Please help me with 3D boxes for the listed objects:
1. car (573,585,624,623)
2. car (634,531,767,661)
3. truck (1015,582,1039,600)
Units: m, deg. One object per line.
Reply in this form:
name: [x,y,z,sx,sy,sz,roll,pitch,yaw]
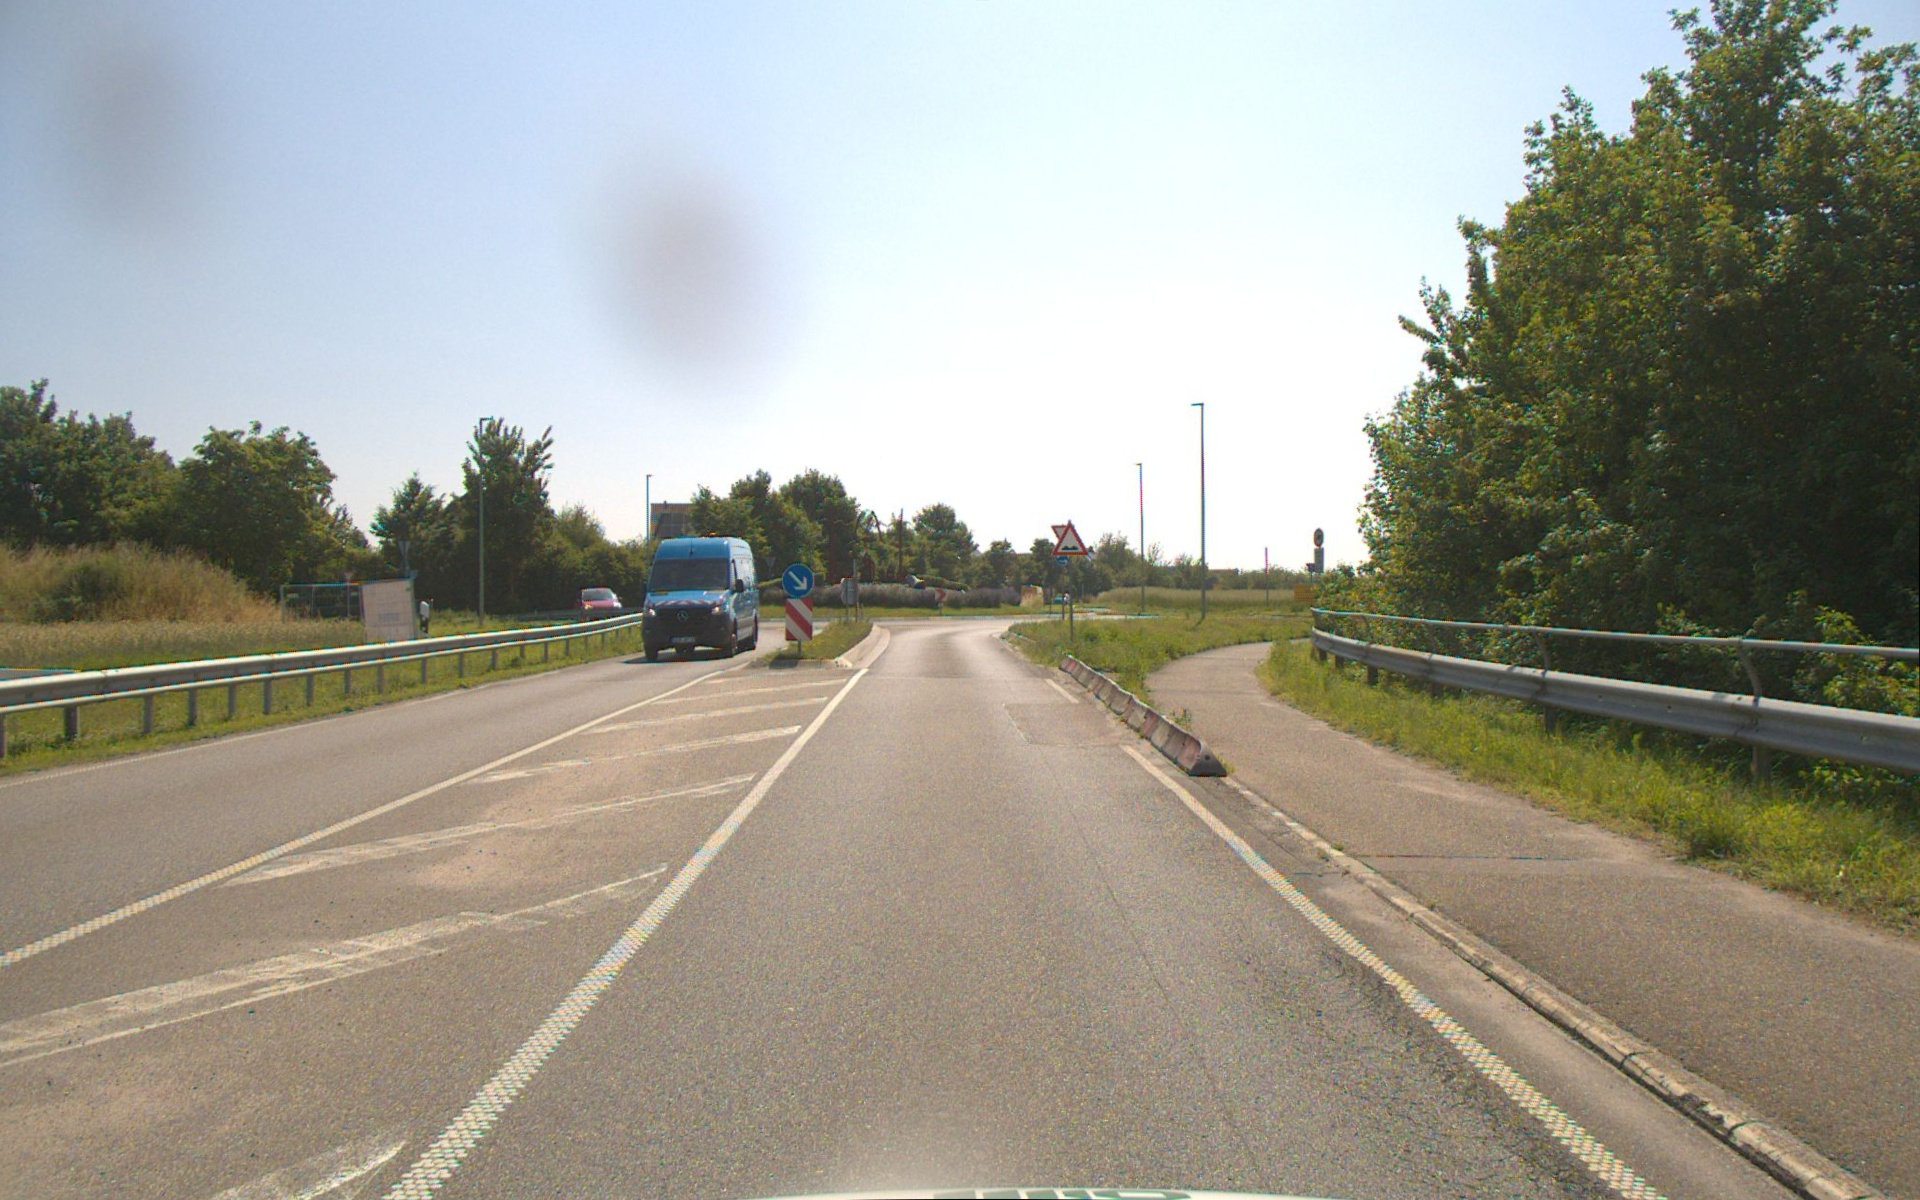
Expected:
car: [-15.309,0.177,69.873,1.603,1.517,3.780,-2,0,-20]
car: [-5.860,-0.107,38.249,1.953,2.656,7.289,-2,0,-1]
truck: [7.626,-1.054,188.007,1.951,2.049,4.003,0,0,14]
